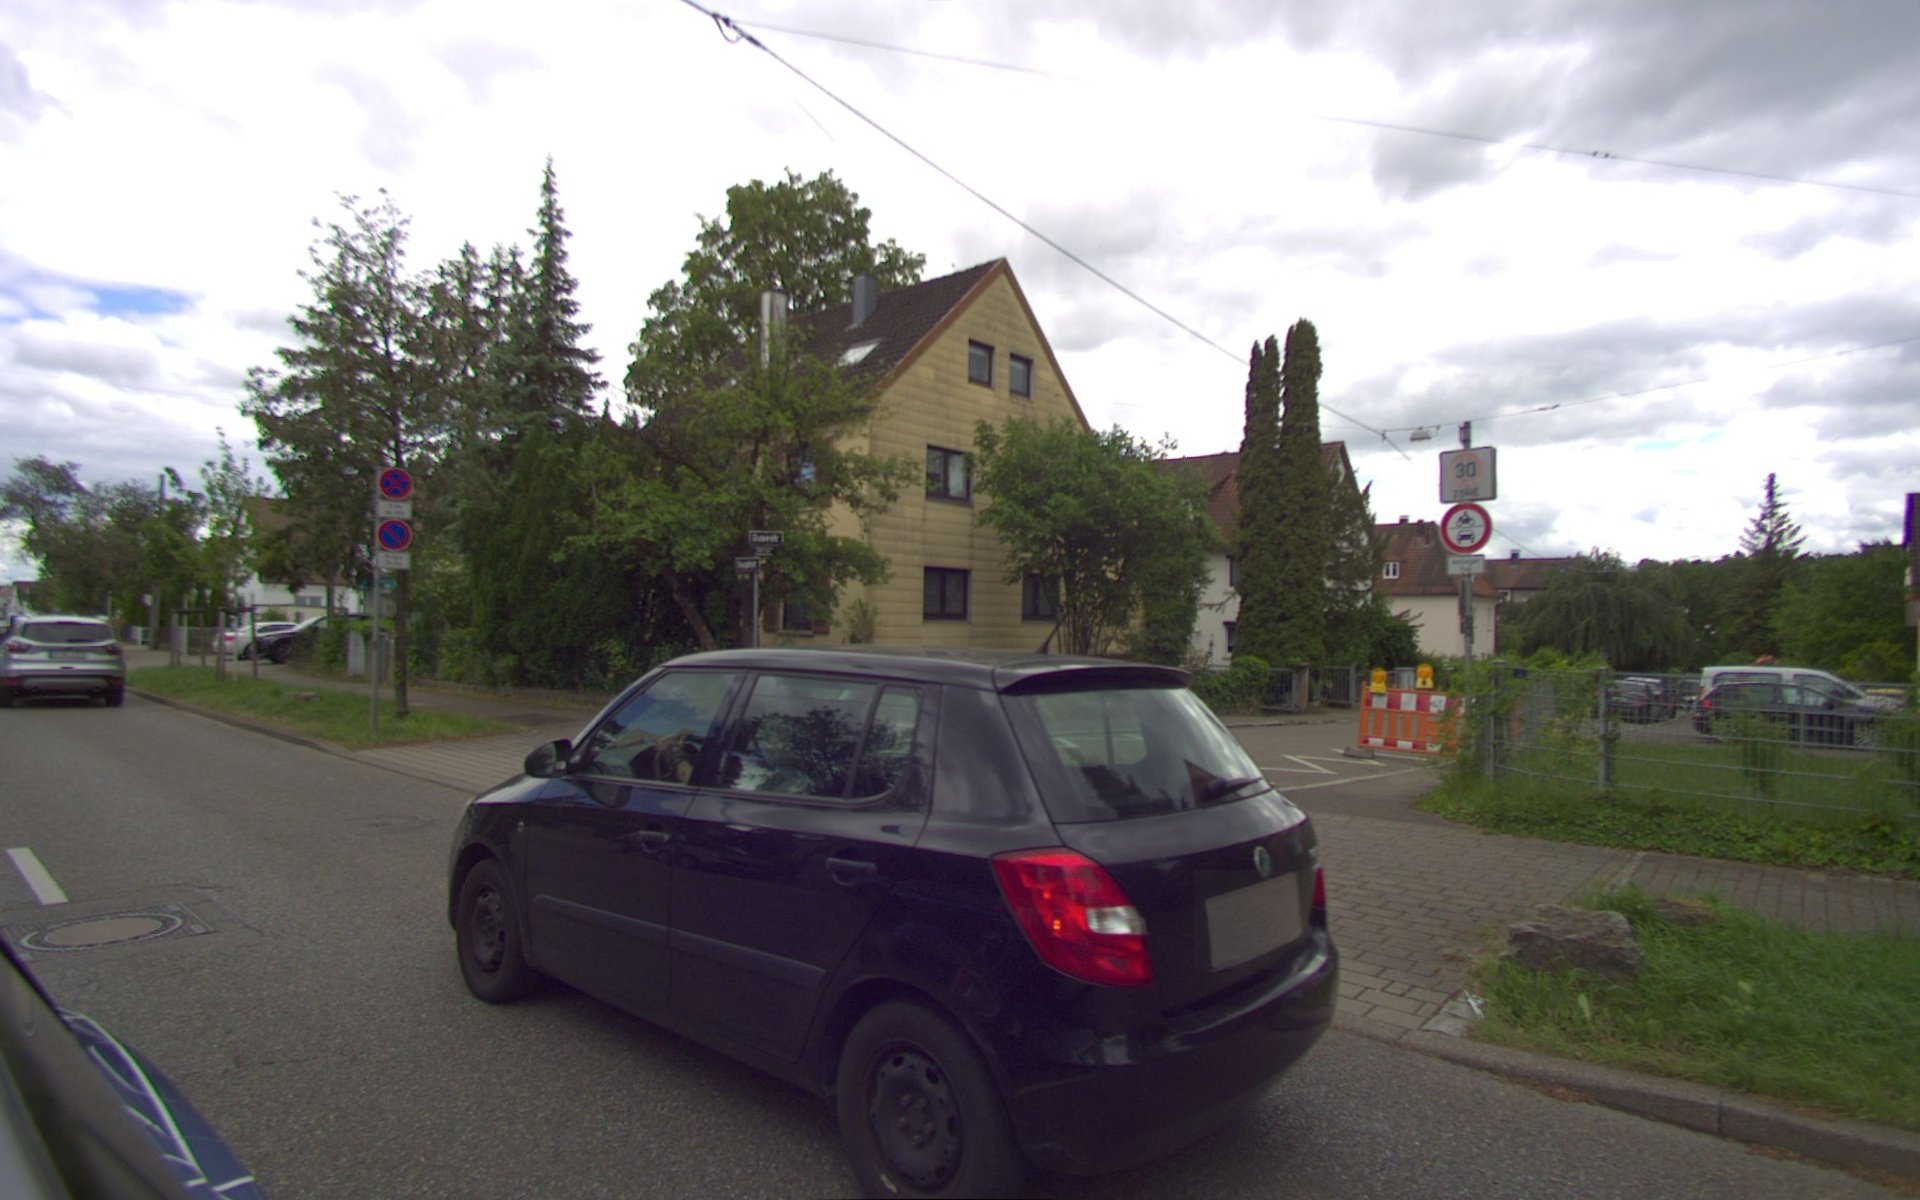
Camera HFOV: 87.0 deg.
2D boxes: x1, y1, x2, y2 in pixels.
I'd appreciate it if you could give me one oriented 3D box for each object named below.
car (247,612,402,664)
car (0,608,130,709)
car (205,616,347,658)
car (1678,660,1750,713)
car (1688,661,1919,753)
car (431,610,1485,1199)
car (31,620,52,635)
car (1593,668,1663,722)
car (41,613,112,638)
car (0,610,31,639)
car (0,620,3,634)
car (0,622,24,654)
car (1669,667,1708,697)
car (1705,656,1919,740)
[{"bbox_3d":[-21.984,1.253,35.118,4.281,1.630,1.975,0,0,-43],"label":"car"},{"bbox_3d":[-17.380,1.062,19.308,4.099,1.719,1.723,-1,-4,42],"label":"car"},{"bbox_3d":[-26.309,1.376,39.032,1.815,1.378,4.235,-1,1,40],"label":"car"},{"bbox_3d":[26.977,3.050,36.166,1.891,1.630,3.947,-1,-2,39],"label":"car"},{"bbox_3d":[18.769,2.308,22.529,3.998,1.775,1.837,-1,-4,41],"label":"car"},{"bbox_3d":[-0.366,0.797,3.643,3.741,1.481,1.528,-1,-2,42],"label":"car"},{"bbox_3d":[-120.682,3.616,132.999,1.970,1.964,4.903,2,-2,-43],"label":"car"},{"bbox_3d":[24.016,3.360,36.338,1.690,1.785,3.355,-1,-4,41],"label":"car"},{"bbox_3d":[-99.043,2.838,113.558,5.525,2.583,2.137,3,-2,-25],"label":"car"},{"bbox_3d":[-87.693,2.262,93.774,2.049,2.602,5.304,4,-4,-44],"label":"car"},{"bbox_3d":[-122.264,3.385,127.912,1.774,1.765,4.303,3,-3,-43],"label":"car"},{"bbox_3d":[-49.601,1.932,52.276,3.471,1.483,1.557,1,-2,43],"label":"car"},{"bbox_3d":[44.896,5.037,62.361,1.633,1.785,3.355,-1,-4,41],"label":"car"},{"bbox_3d":[20.558,2.287,24.397,4.058,1.775,1.801,-1,-4,41],"label":"car"}]
